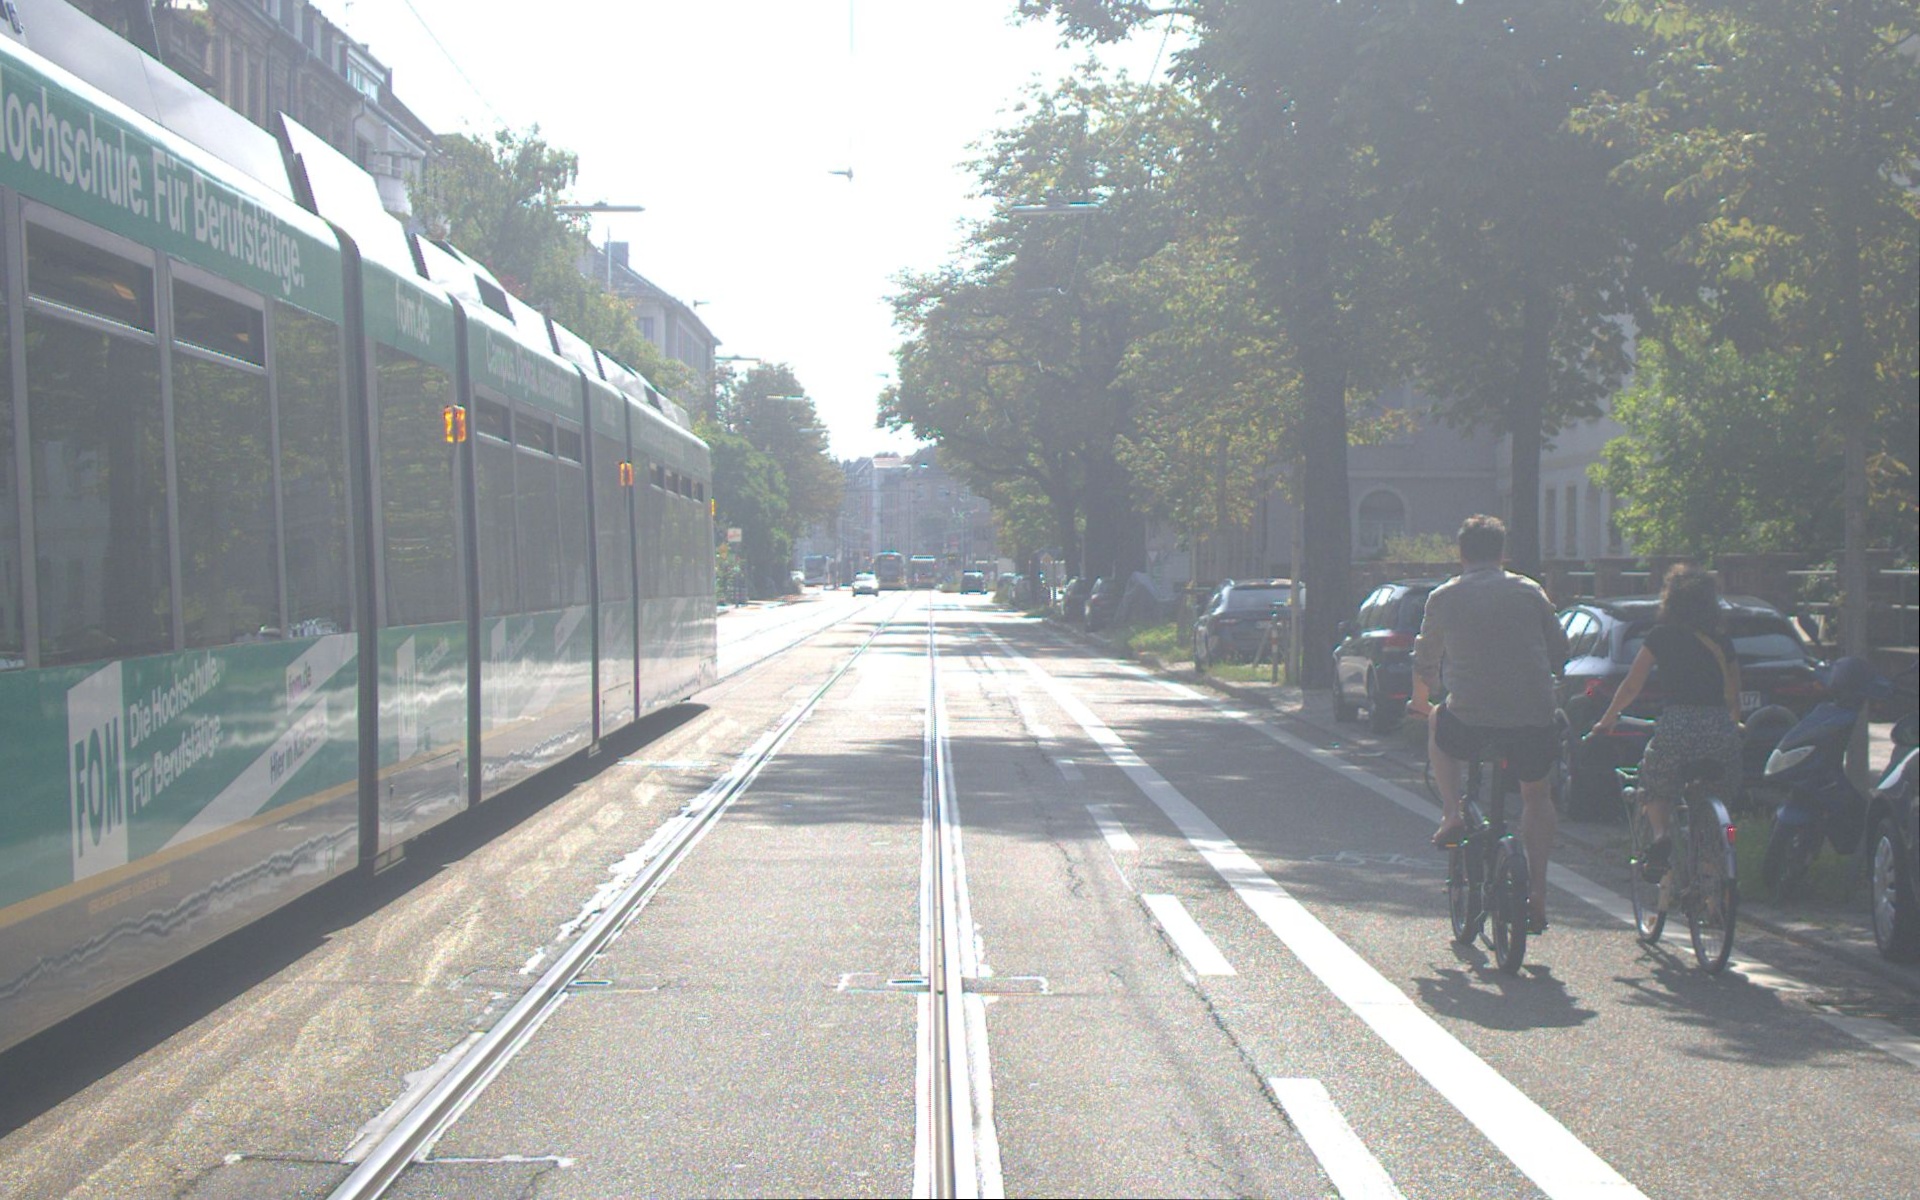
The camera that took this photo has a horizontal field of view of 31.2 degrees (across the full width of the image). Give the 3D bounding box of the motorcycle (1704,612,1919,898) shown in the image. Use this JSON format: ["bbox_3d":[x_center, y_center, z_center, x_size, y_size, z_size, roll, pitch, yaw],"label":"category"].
[{"bbox_3d":[4.776,0.747,17.303,1.854,1.285,0.705,-3,6,-3],"label":"motorcycle"}]

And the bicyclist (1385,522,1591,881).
[{"bbox_3d":[2.147,0.399,14.068,0.626,1.396,0.929,2,0,-1],"label":"bicyclist"}]

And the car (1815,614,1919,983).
[{"bbox_3d":[4.634,0.789,13.110,1.645,1.443,4.246,-1,0,0],"label":"car"}]

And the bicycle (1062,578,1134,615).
[{"bbox_3d":[4.183,-0.118,104.314,2.106,1.101,0.563,0,0,-7],"label":"bicycle"}]

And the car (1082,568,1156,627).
[{"bbox_3d":[4.217,-0.065,91.468,1.726,1.499,3.984,-1,0,-1],"label":"car"}]

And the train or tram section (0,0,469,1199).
[{"bbox_3d":[-3.709,-0.313,9.464,2.734,3.493,15.434,1,1,-1],"label":"train or tram section"}]

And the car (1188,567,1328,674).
[{"bbox_3d":[4.543,0.288,53.001,1.743,1.555,4.719,0,0,0],"label":"car"}]

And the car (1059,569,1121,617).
[{"bbox_3d":[4.086,-0.217,108.494,1.772,1.468,3.974,0,0,0],"label":"car"}]

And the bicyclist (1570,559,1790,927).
[{"bbox_3d":[2.998,0.576,14.391,0.654,1.469,0.909,2,0,-1],"label":"bicyclist"}]

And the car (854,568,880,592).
[{"bbox_3d":[-6.421,-1.415,237.141,1.726,1.632,3.985,0,0,-1],"label":"car"}]

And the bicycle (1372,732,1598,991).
[{"bbox_3d":[2.123,1.041,14.062,0.626,0.906,1.525,2,0,-1],"label":"bicycle"}]

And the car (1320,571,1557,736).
[{"bbox_3d":[4.705,0.492,34.336,1.689,1.497,4.096,-2,0,-1],"label":"car"}]

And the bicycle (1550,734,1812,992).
[{"bbox_3d":[2.989,1.070,14.409,0.654,0.906,1.775,2,0,-1],"label":"bicycle"}]

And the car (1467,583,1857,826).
[{"bbox_3d":[4.741,0.644,23.811,1.689,1.430,4.337,-2,1,-1],"label":"car"}]

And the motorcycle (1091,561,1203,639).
[{"bbox_3d":[4.097,0.006,75.638,2.418,1.668,0.911,-1,1,44],"label":"motorcycle"}]

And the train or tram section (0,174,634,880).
[{"bbox_3d":[-3.949,-0.430,22.568,2.734,3.493,10.776,1,1,-1],"label":"train or tram section"}]

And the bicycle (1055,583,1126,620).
[{"bbox_3d":[3.969,0.042,104.734,2.106,1.101,0.563,0,0,-7],"label":"bicycle"}]

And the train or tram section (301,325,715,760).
[{"bbox_3d":[-4.062,-0.532,33.353,2.734,3.493,10.776,1,1,-1],"label":"train or tram section"}]
